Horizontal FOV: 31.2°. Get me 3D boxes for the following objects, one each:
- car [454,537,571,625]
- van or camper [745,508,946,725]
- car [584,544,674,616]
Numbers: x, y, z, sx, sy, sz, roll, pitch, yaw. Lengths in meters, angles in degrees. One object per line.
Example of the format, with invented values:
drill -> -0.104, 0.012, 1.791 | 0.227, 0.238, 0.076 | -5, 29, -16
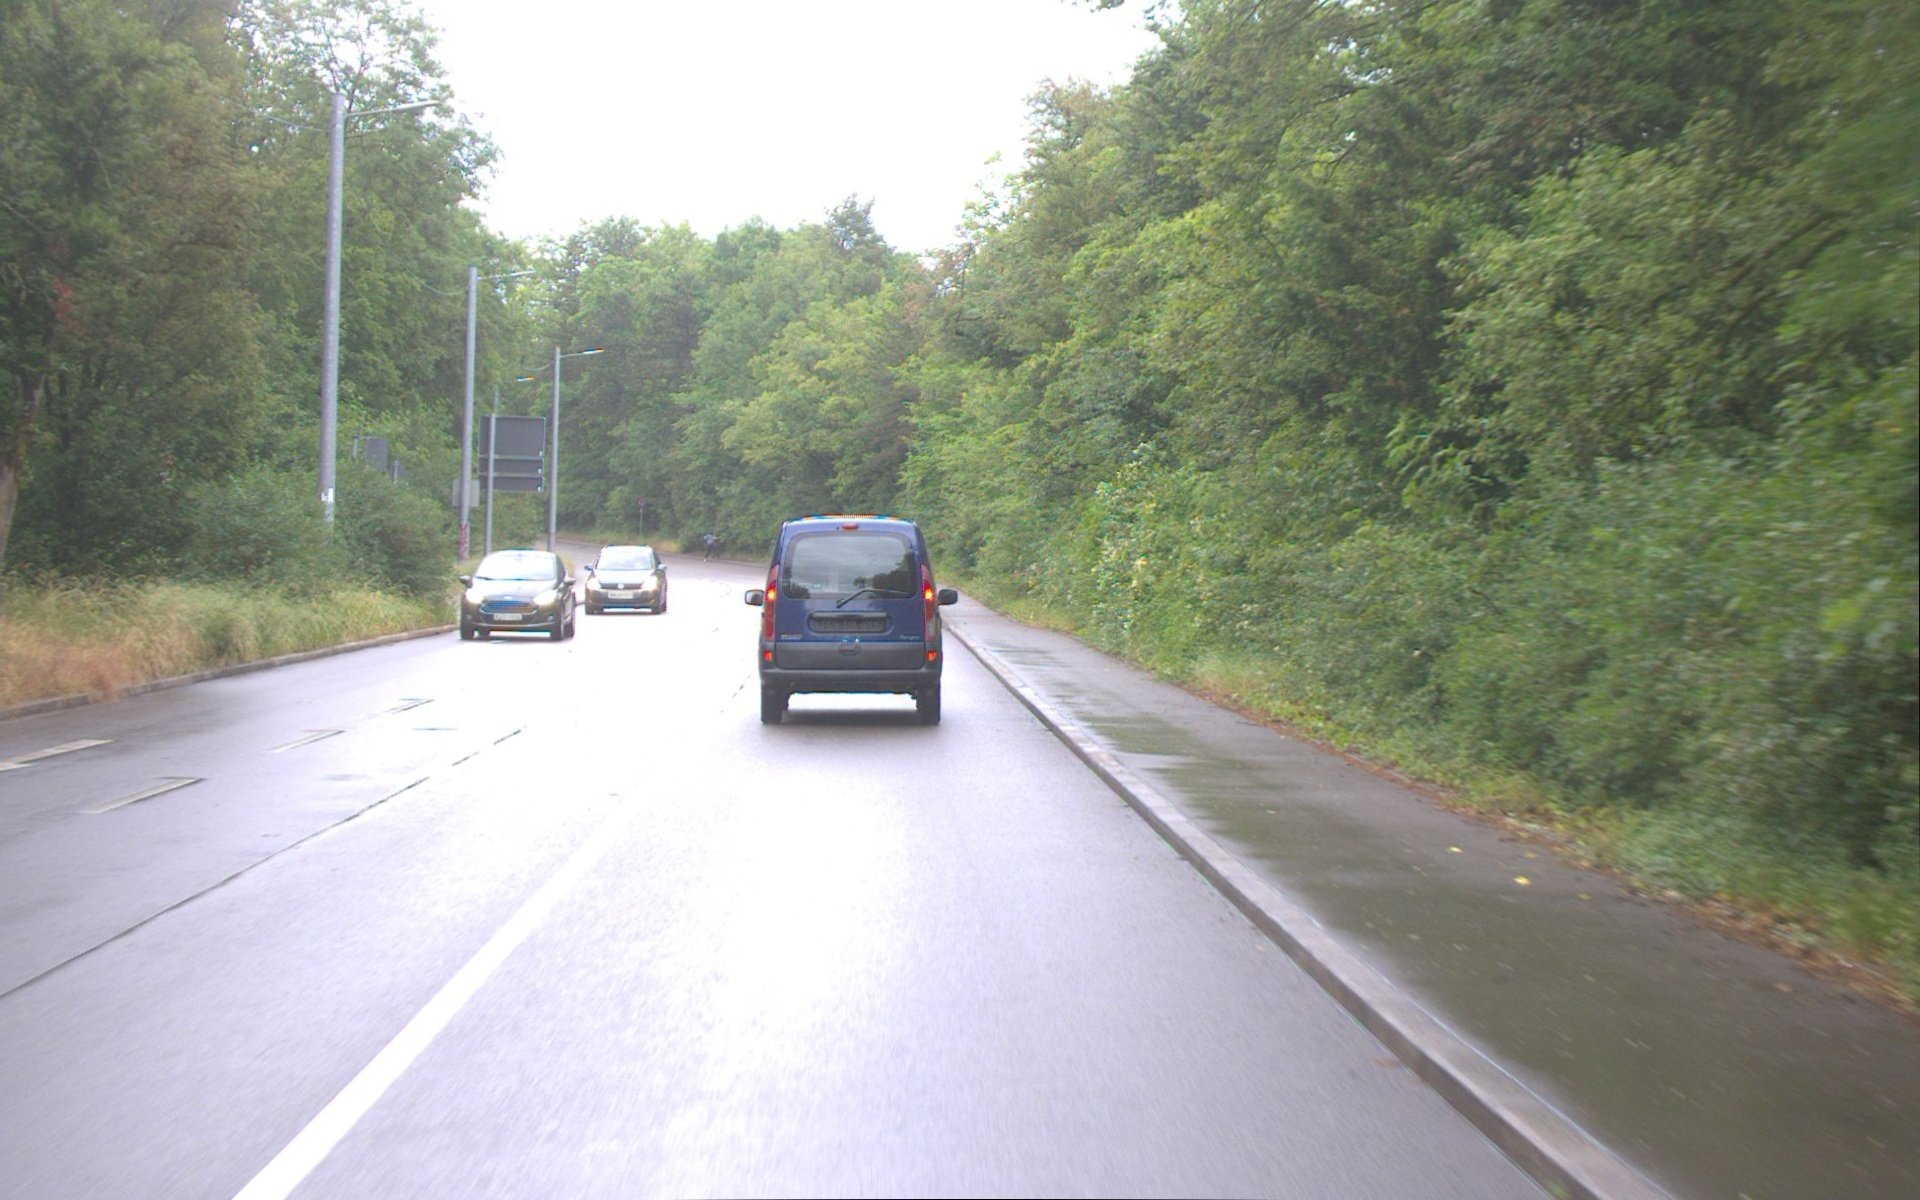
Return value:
car -> -7.476, -0.342, 57.703 | 1.598, 1.436, 3.991 | 0, 1, -2
van or camper -> -0.998, 0.091, 31.739 | 1.712, 1.819, 4.001 | 0, 2, 0
car -> -7.794, -0.495, 81.188 | 1.771, 1.605, 4.084 | 1, 1, -1
